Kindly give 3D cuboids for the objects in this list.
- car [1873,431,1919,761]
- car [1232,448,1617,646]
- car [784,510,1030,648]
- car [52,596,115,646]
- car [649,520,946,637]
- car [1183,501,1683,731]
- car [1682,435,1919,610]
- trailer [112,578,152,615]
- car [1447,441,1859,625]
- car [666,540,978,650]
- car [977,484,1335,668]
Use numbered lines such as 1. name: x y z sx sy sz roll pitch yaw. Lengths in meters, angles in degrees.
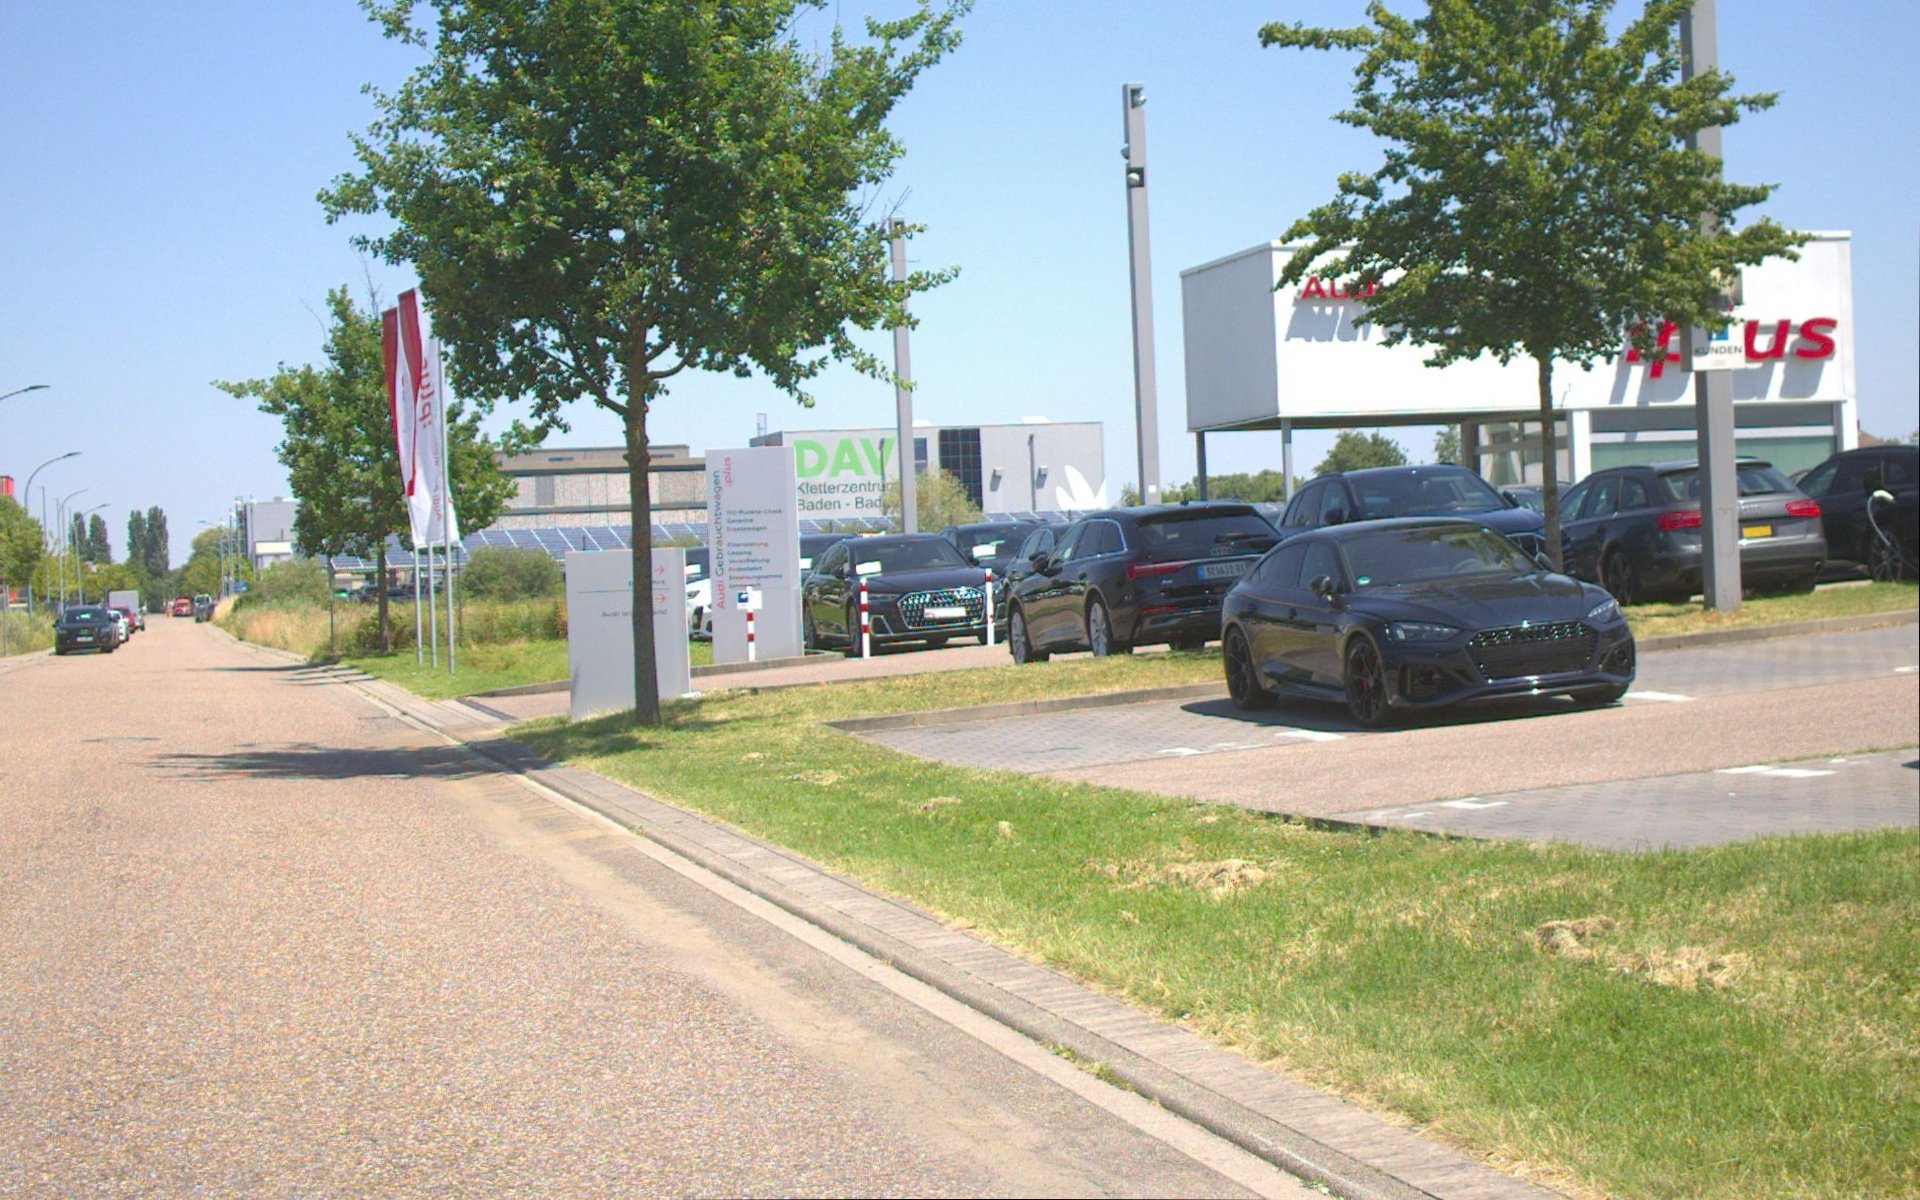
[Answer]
1. car: 5.888 -0.095 14.749 1.887 1.566 4.228 -5 1 -14
2. car: 4.371 -0.450 33.267 1.961 1.592 4.987 -3 -1 -13
3. car: -0.760 -0.259 44.096 2.024 1.509 5.240 -5 1 -13
4. car: -28.902 0.675 113.349 1.926 1.562 4.191 -2 1 -14
5. car: -2.708 -0.354 56.962 4.527 1.687 2.032 -3 0 -15
6. car: 3.300 0.051 25.078 1.961 1.361 4.722 -5 2 -13
7. car: 9.105 -0.747 33.714 1.961 1.452 4.987 -3 -1 -13
8. trailer: -49.382 -0.199 204.969 2.200 2.130 4.286 -2 0 -13
9. car: 6.614 -0.596 33.477 1.961 1.452 4.987 -3 -1 -13
10. car: -2.194 -0.085 54.301 4.527 1.452 2.032 -3 1 -15
11. car: 1.732 -0.166 32.384 1.961 1.452 4.987 -3 -1 -13
